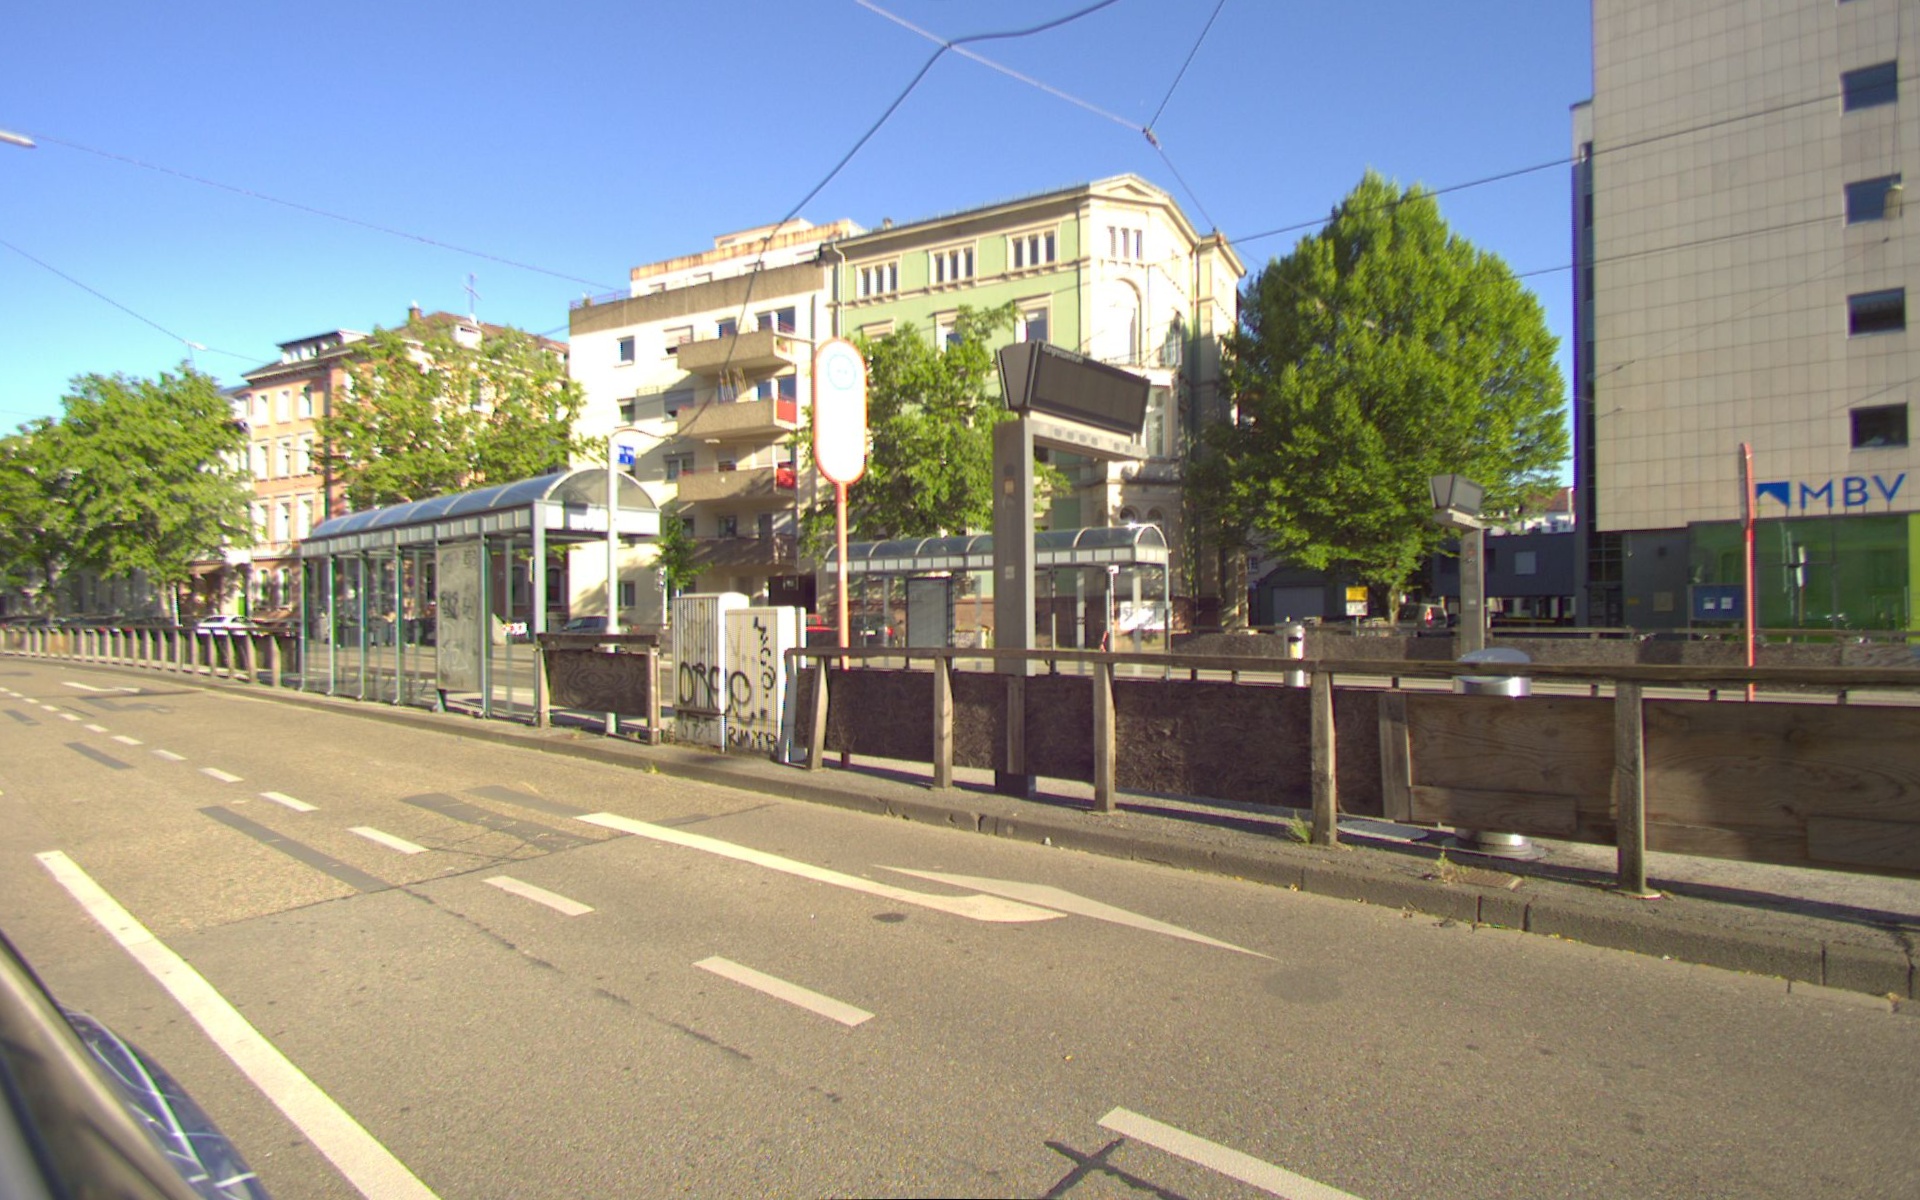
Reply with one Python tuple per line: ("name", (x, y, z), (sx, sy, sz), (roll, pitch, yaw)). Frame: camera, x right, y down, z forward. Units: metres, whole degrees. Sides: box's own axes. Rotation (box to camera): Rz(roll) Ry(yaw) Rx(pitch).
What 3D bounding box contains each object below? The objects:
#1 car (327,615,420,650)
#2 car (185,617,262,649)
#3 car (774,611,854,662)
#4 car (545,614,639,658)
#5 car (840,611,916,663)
("car", (-28.406, 1.552, 49.061), (1.626, 1.579, 3.560), (-1, 0, 33))
("car", (-39.405, 1.731, 54.220), (1.607, 1.579, 3.601), (-1, 0, -2))
("car", (-4.929, 1.210, 34.571), (1.614, 1.579, 3.588), (-1, 0, 11))
("car", (-14.041, 1.328, 38.523), (3.592, 1.579, 1.612), (-1, 0, 35))
("car", (-2.656, 1.181, 33.374), (1.614, 1.579, 3.588), (-1, 0, 11))
